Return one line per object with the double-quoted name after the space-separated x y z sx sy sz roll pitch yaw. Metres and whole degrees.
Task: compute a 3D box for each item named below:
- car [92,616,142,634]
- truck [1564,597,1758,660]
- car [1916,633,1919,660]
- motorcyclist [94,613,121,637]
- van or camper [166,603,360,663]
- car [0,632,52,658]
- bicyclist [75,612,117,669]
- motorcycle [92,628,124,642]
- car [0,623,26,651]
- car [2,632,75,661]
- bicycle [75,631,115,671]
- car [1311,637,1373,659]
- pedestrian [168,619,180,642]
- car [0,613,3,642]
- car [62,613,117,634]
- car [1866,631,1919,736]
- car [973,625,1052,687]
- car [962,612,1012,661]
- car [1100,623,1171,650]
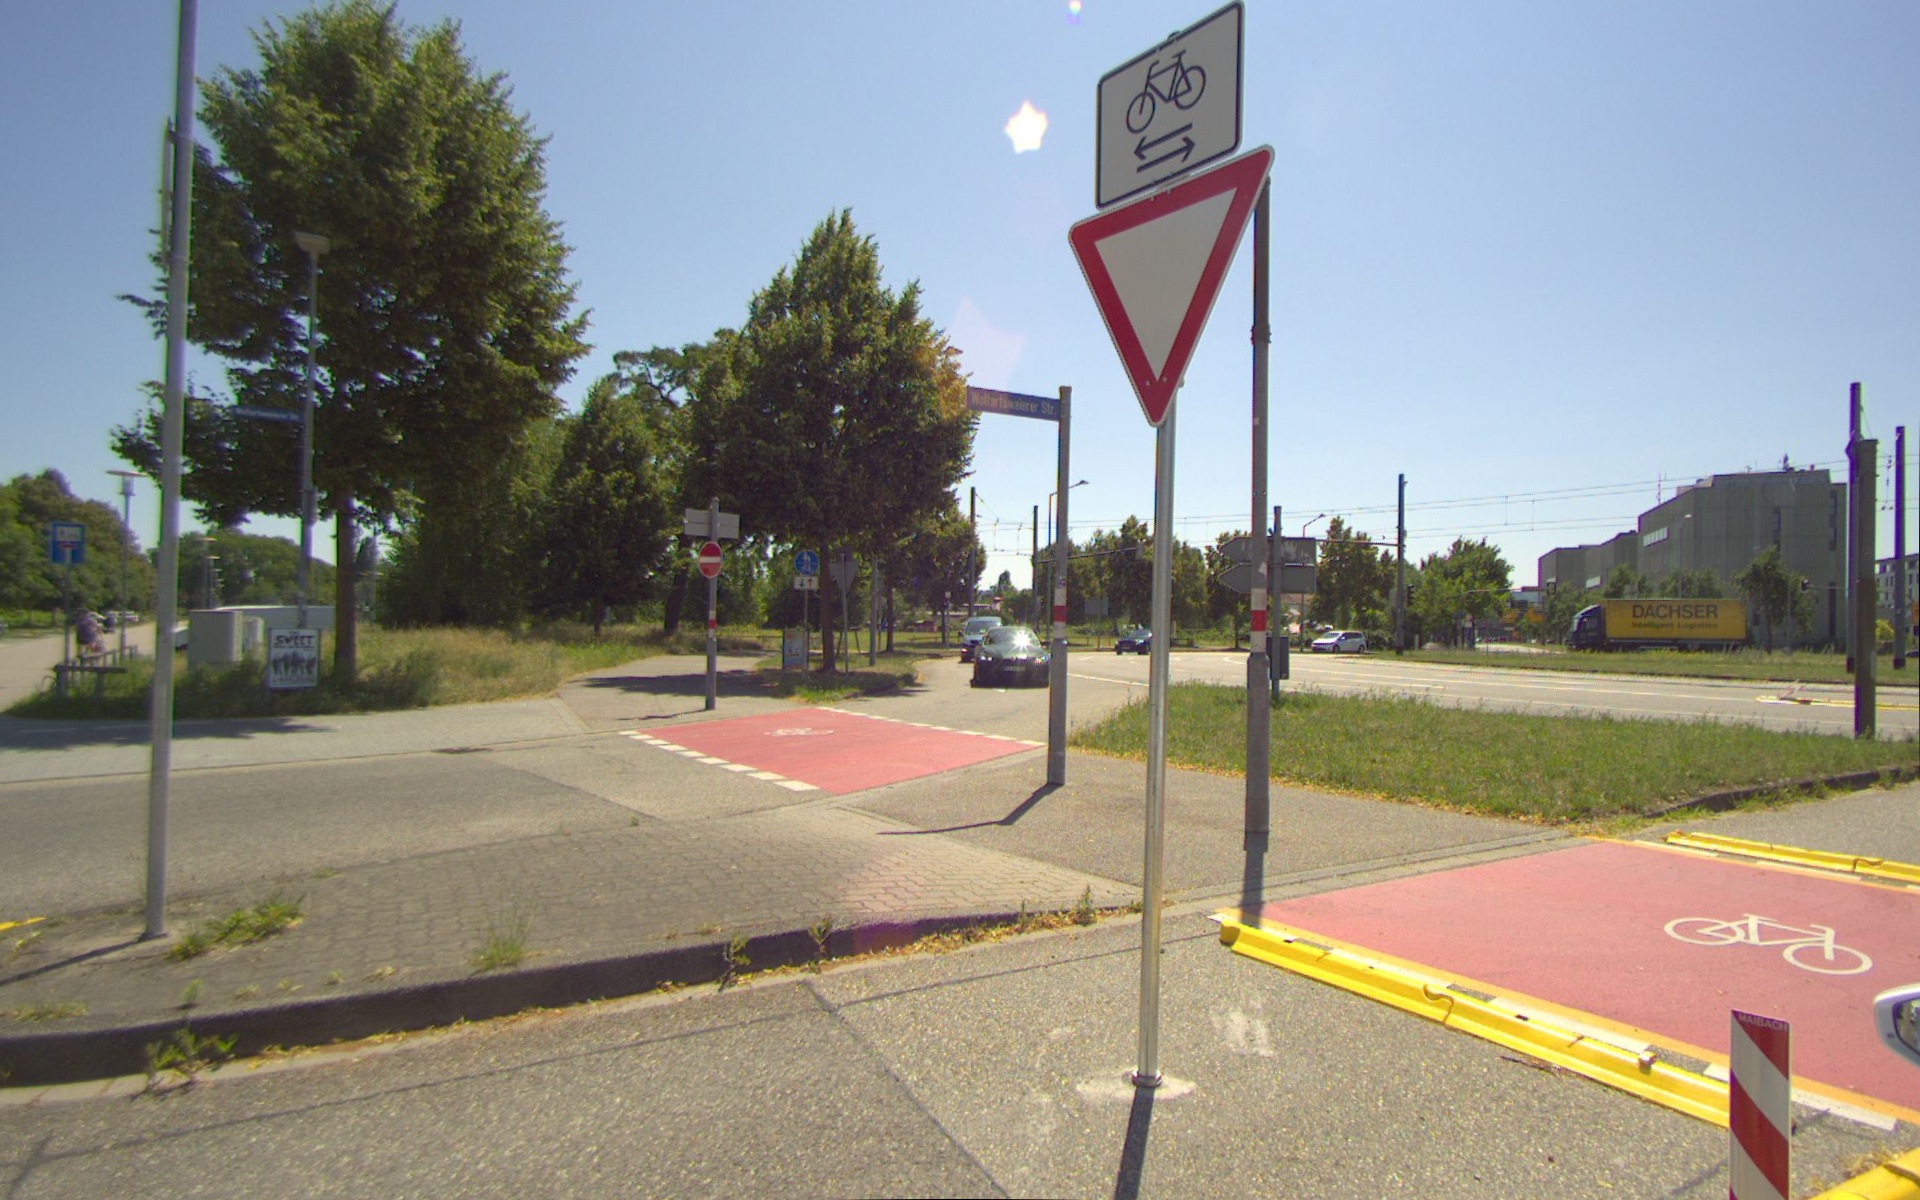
-95.751 2.824 114.170 3.953 2.040 1.984 2 -2 -30 "car"
43.146 1.703 62.223 9.426 3.707 2.708 0 -1 20 "truck"
55.177 2.598 54.893 3.981 1.480 1.724 0 -1 35 "car"
-58.138 1.713 68.518 1.243 1.630 1.427 2 -2 -35 "motorcyclist"
-23.474 1.134 34.013 5.224 1.882 1.979 2 -2 -37 "van or camper"
-50.699 2.408 54.055 2.499 1.376 1.075 2 -1 -30 "car"
-26.318 1.232 30.608 0.707 1.659 0.967 4 -3 -30 "bicyclist"
-58.410 2.408 68.909 1.358 0.934 3.194 2 -2 -35 "motorcycle"
-48.924 1.857 50.626 2.499 1.376 1.075 2 -1 -30 "car"
-57.584 2.916 62.834 3.206 1.727 1.492 2 -2 -40 "car"
-26.315 1.543 30.587 0.544 1.127 1.664 4 -3 -29 "bicycle"
26.837 3.362 70.490 4.978 1.473 1.807 2 -2 -38 "car"
-60.364 2.341 77.133 0.666 1.686 1.326 2 -1 -36 "pedestrian"
-46.411 1.285 46.717 2.499 1.376 1.075 2 -1 -30 "car"
-89.625 2.415 103.470 3.953 2.040 1.984 2 -2 -30 "car"
15.475 1.188 13.635 1.986 1.468 4.591 2 -2 -43 "car"
1.271 1.386 26.023 1.689 1.430 4.618 1 -1 -1 "car"
1.137 1.458 40.711 1.655 1.792 4.207 -2 -2 6 "car"
9.868 2.028 56.233 1.829 1.455 4.936 0 -2 38 "car"
